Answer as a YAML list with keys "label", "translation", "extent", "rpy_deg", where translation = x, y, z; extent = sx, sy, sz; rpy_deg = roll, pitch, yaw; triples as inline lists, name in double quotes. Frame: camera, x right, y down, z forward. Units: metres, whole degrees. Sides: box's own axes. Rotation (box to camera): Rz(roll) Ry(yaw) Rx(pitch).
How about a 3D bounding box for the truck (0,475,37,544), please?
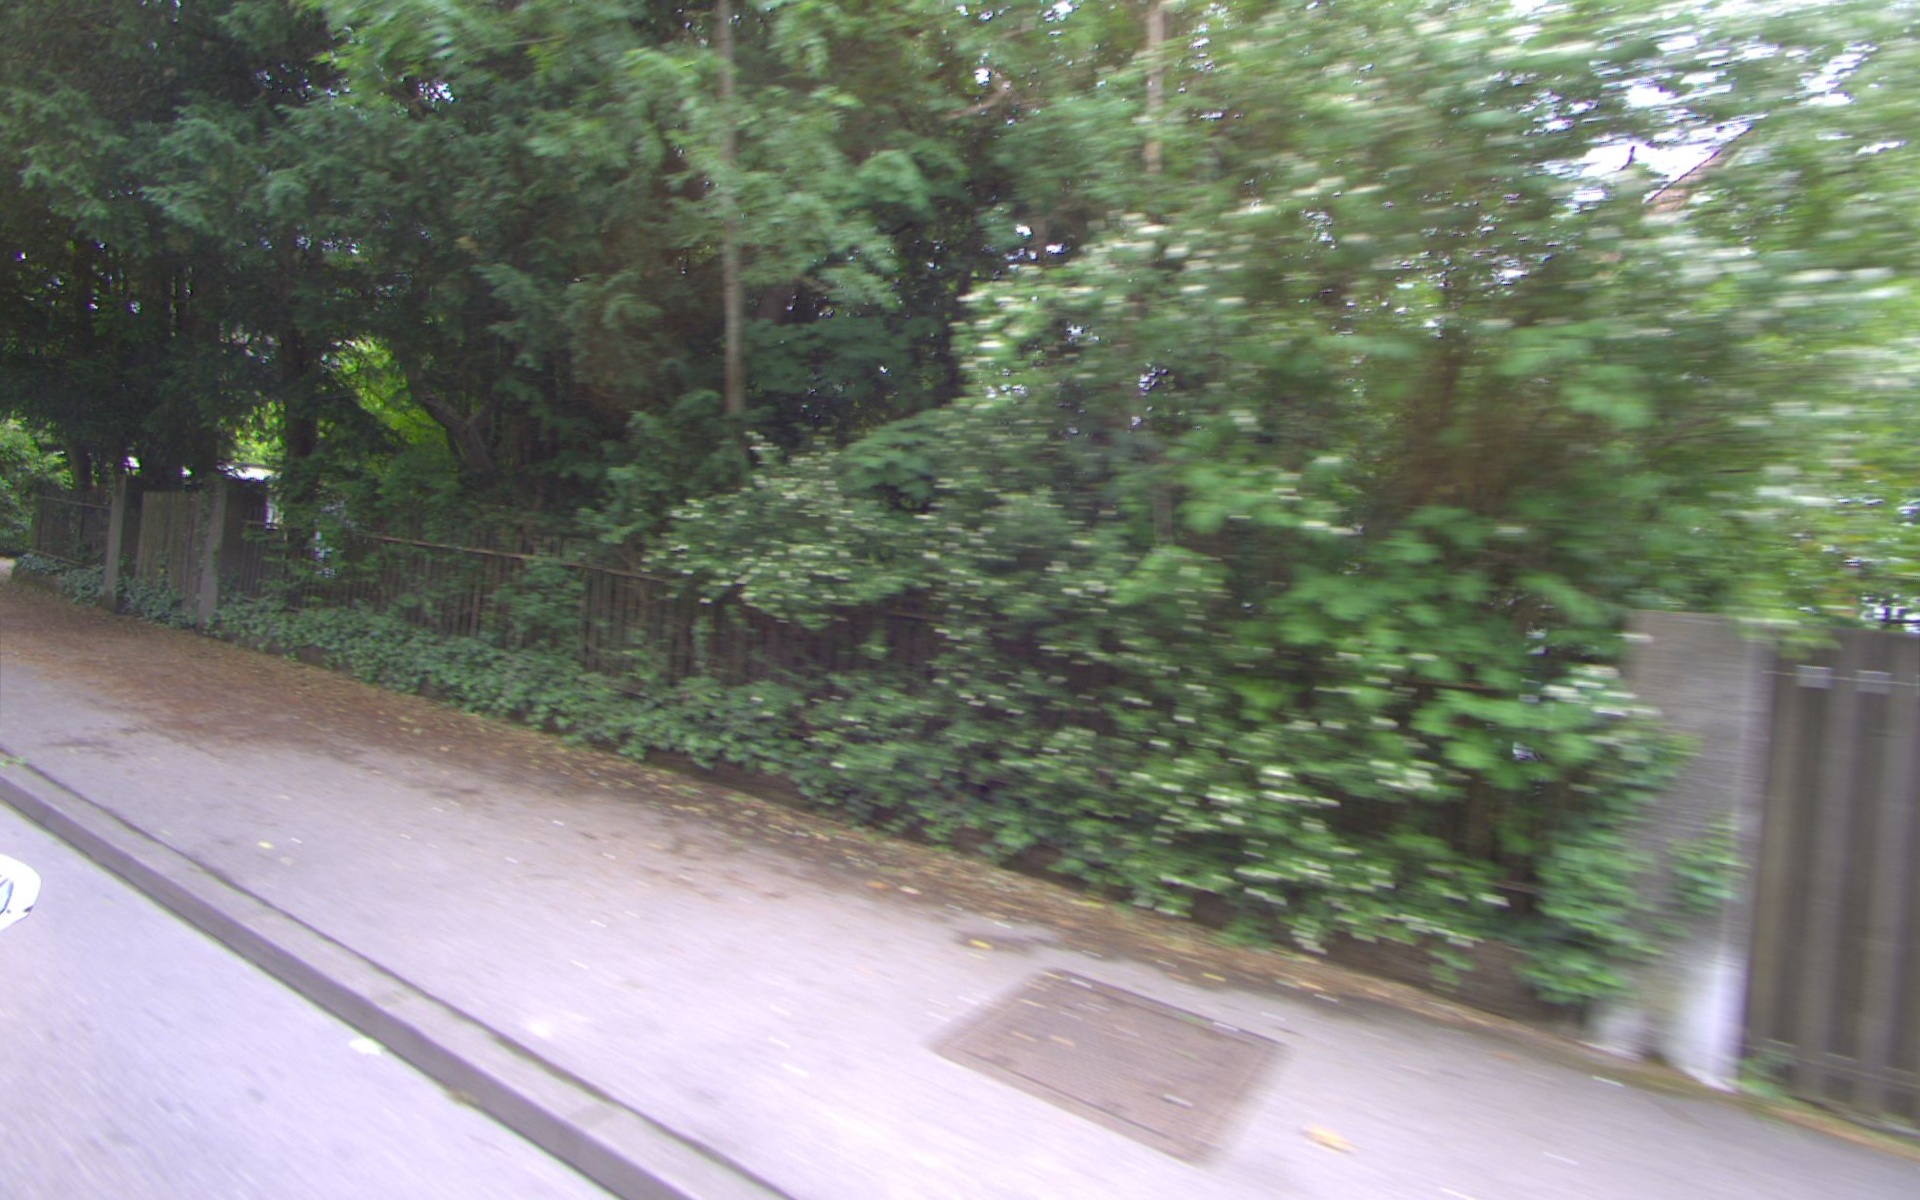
- label: "truck"
  translation: [-26.207, -2.529, 26.264]
  extent: [3.001, 1.711, 1.354]
  rpy_deg: [7, 1, 6]
